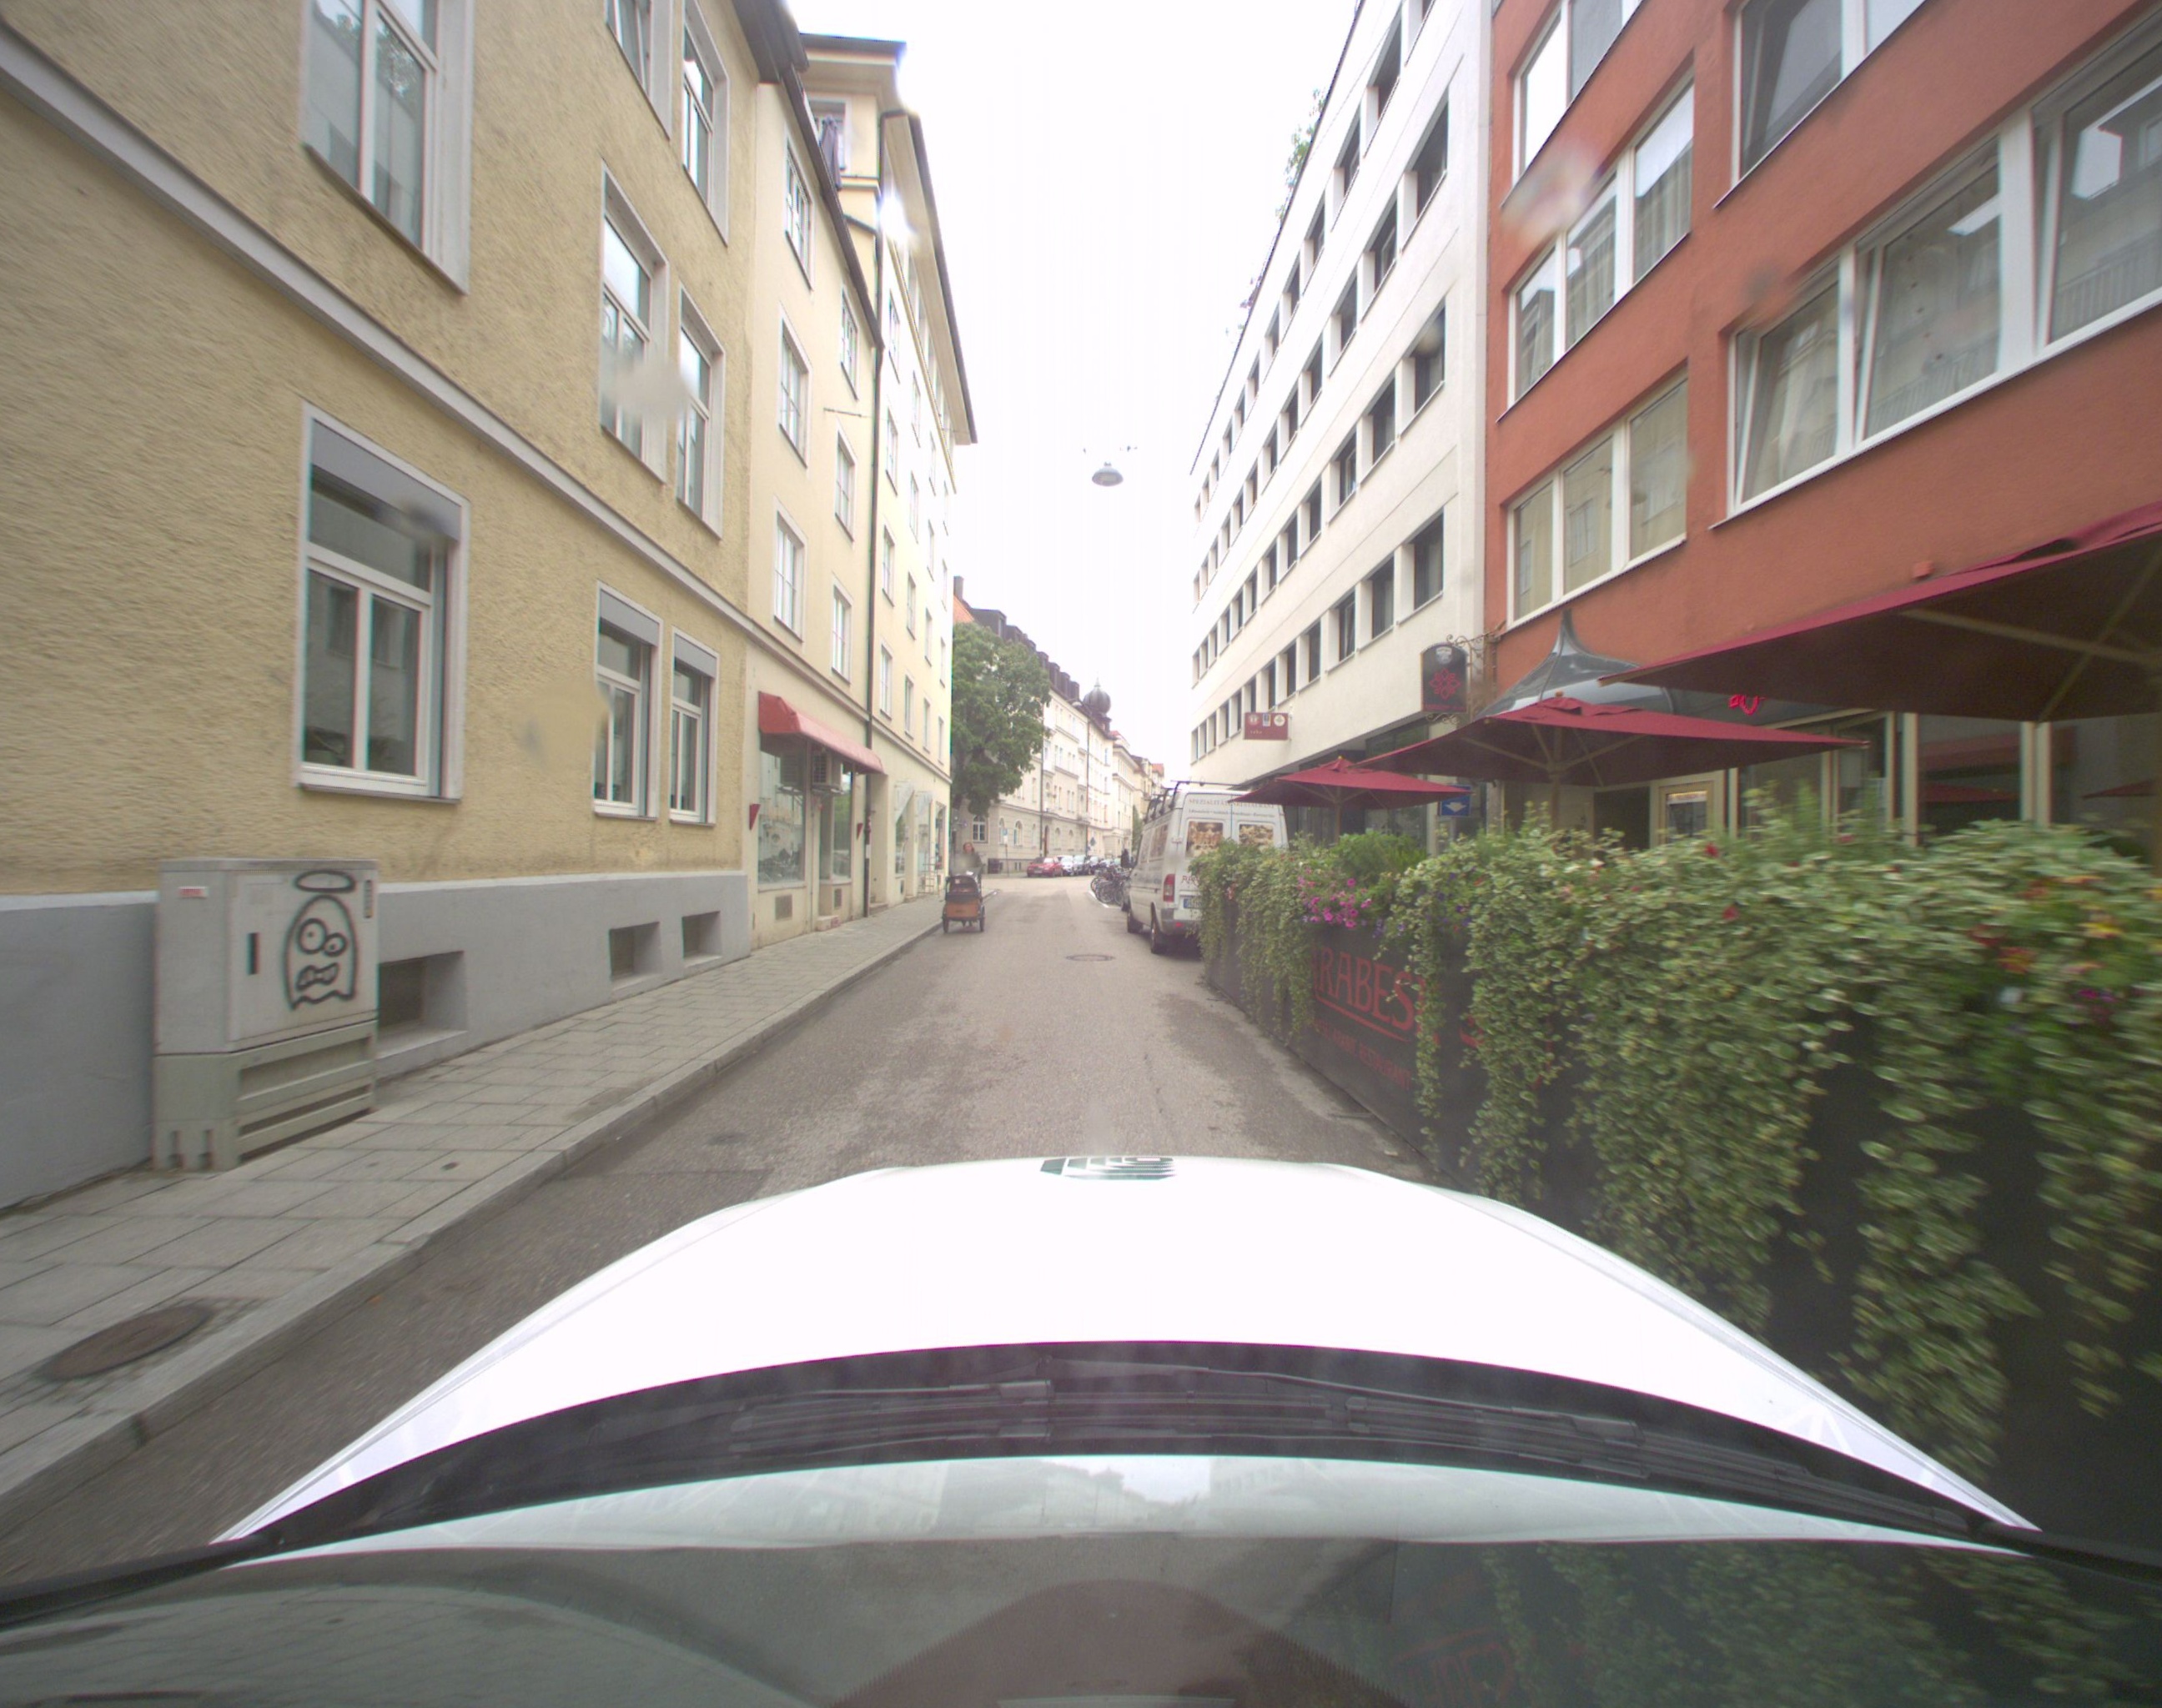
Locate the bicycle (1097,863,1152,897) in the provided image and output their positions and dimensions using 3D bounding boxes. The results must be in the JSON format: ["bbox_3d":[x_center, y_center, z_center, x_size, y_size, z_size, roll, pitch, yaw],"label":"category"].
[{"bbox_3d":[1.521,0.904,28.558,1.890,1.170,0.565,0,0,-5],"label":"bicycle"}]

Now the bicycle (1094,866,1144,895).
[{"bbox_3d":[1.437,0.995,30.952,1.871,1.080,0.407,1,1,-6],"label":"bicycle"}]

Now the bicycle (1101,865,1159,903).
[{"bbox_3d":[1.628,0.996,27.217,1.870,1.157,0.564,2,1,-5],"label":"bicycle"}]

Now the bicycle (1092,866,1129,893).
[{"bbox_3d":[1.214,1.050,33.416,1.451,1.069,0.462,1,0,-10],"label":"bicycle"}]

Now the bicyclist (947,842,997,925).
[{"bbox_3d":[-2.333,0.606,17.533,0.924,1.721,1.099,-1,0,-1],"label":"bicyclist"}]

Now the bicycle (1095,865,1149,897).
[{"bbox_3d":[1.474,0.965,29.113,1.871,1.095,0.439,1,1,-6],"label":"bicycle"}]

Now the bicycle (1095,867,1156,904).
[{"bbox_3d":[1.415,1.006,26.005,1.870,1.108,0.488,2,1,-5],"label":"bicycle"}]

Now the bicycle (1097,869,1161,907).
[{"bbox_3d":[1.482,1.046,25.149,1.870,1.079,0.488,3,1,-5],"label":"bicycle"}]

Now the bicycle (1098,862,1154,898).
[{"bbox_3d":[1.538,0.897,27.945,1.870,1.204,0.579,0,0,-5],"label":"bicycle"}]

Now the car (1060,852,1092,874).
[{"bbox_3d":[-0.353,0.698,64.083,1.932,1.702,4.009,1,0,8],"label":"car"}]

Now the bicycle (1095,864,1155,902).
[{"bbox_3d":[1.427,0.953,26.526,1.870,1.204,0.488,1,1,-5],"label":"bicycle"}]

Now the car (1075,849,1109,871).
[{"bbox_3d":[0.960,0.487,68.918,1.980,1.738,4.537,1,0,13],"label":"car"}]

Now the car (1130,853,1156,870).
[{"bbox_3d":[6.010,0.701,78.508,1.945,1.607,4.321,0,0,10],"label":"car"}]

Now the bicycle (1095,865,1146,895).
[{"bbox_3d":[1.487,0.984,30.515,1.871,1.080,0.401,1,1,-6],"label":"bicycle"}]

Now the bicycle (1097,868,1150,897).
[{"bbox_3d":[1.548,1.038,29.819,1.871,1.052,0.563,0,-2,-6],"label":"bicycle"}]

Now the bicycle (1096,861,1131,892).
[{"bbox_3d":[1.374,0.941,34.433,1.452,1.285,0.445,1,0,-1],"label":"bicycle"}]

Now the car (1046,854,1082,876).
[{"bbox_3d":[-1.192,0.794,59.282,1.983,1.473,4.226,1,0,6],"label":"car"}]

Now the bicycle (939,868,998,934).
[{"bbox_3d":[-2.324,0.942,17.115,0.929,1.257,2.412,-1,-1,-1],"label":"bicycle"}]

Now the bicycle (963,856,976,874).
[{"bbox_3d":[-7.239,0.720,52.833,0.491,1.052,1.829,1,2,3],"label":"bicycle"}]

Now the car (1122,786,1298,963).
[{"bbox_3d":[2.019,0.298,14.751,1.916,2.506,5.991,2,0,-3],"label":"car"}]

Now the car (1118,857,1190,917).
[{"bbox_3d":[1.897,0.825,22.070,1.576,1.464,3.550,1,0,-1],"label":"car"}]

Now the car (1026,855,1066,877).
[{"bbox_3d":[-2.291,0.793,54.223,1.720,1.378,4.238,1,0,10],"label":"car"}]
